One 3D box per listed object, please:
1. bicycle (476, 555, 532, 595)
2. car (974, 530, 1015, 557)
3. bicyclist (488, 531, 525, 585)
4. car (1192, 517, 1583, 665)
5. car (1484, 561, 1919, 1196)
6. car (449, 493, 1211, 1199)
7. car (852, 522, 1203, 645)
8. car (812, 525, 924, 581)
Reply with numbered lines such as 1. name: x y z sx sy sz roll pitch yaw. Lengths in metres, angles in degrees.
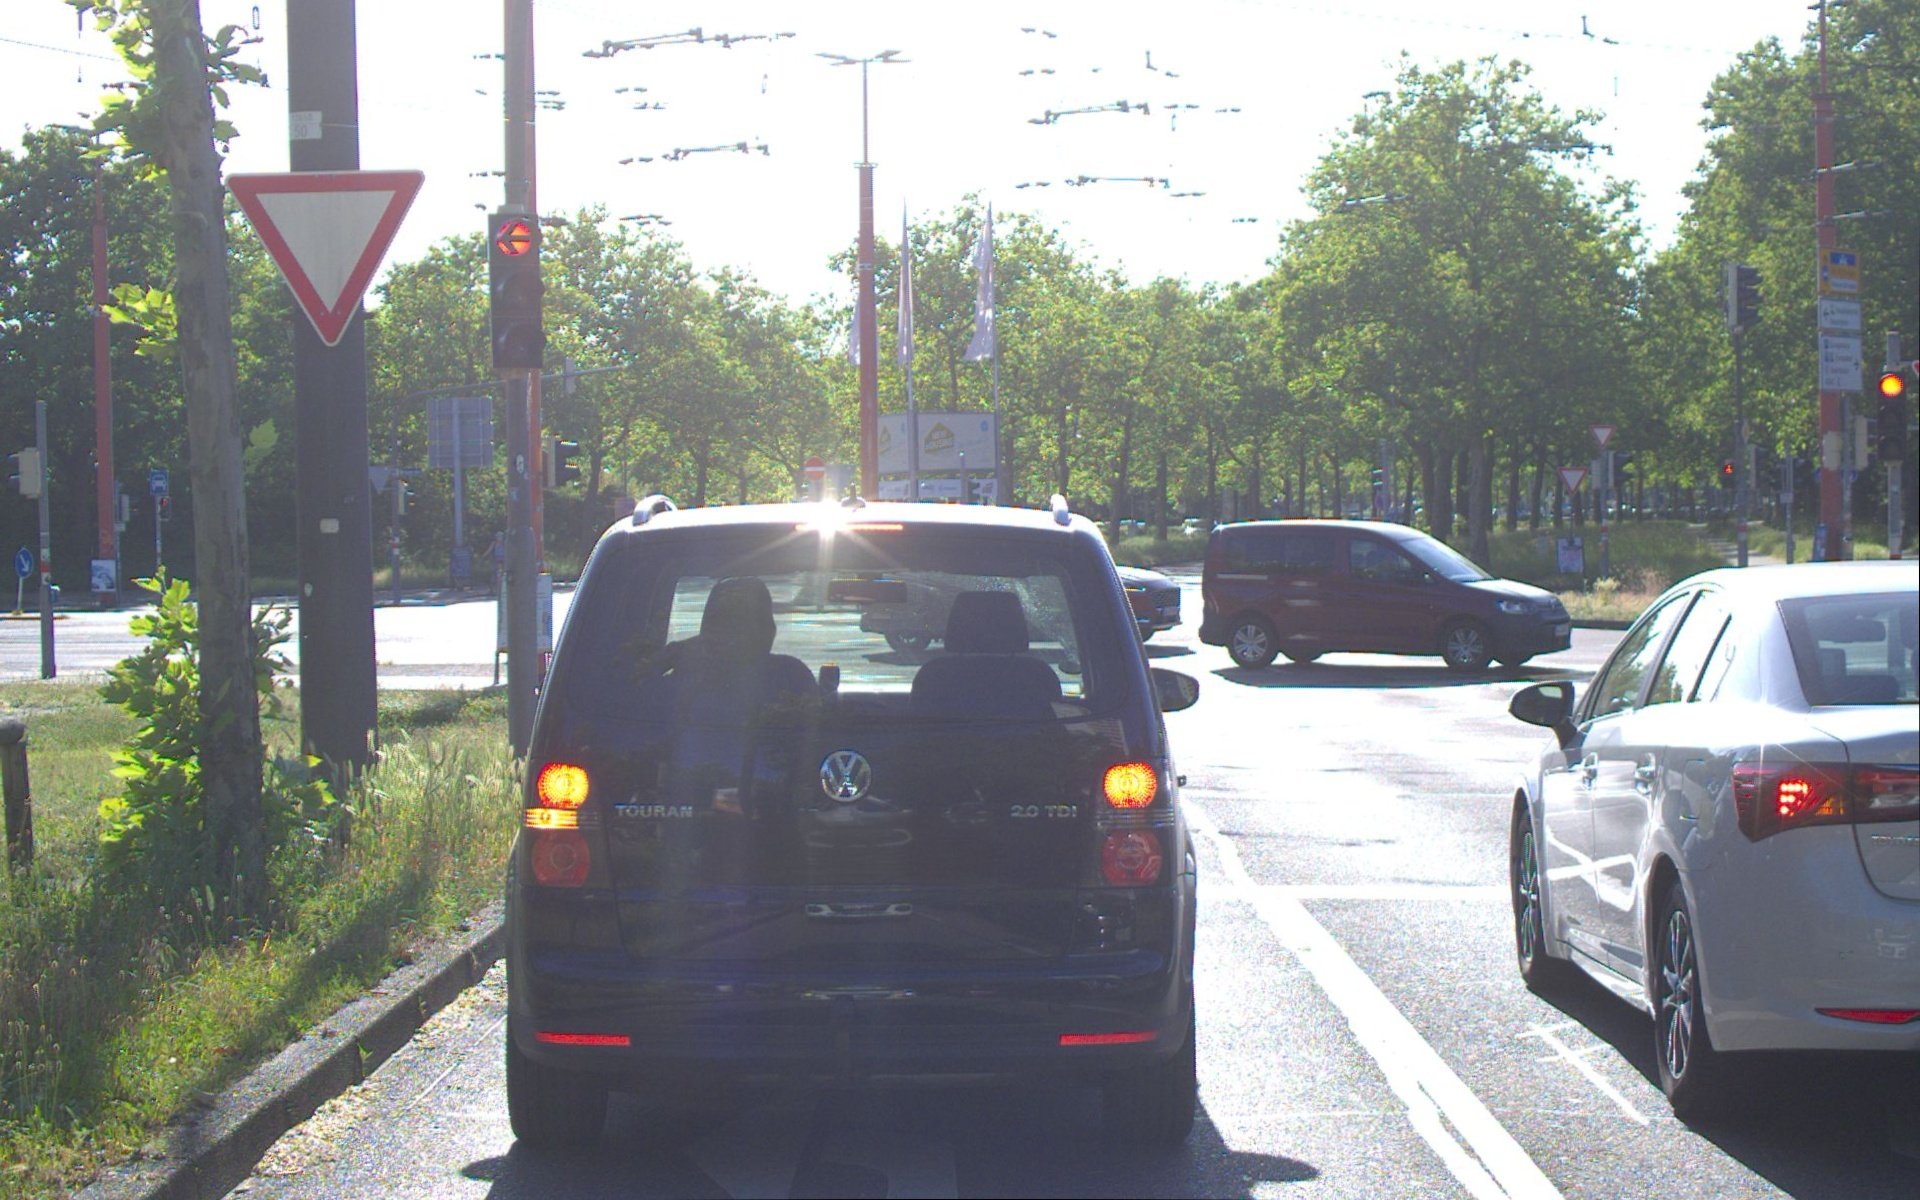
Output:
1. bicycle: -12.519 -0.688 94.422 0.735 1.086 1.959 0 1 18
2. car: 1.752 -2.834 171.802 1.658 1.305 3.814 0 1 6
3. bicyclist: -12.488 -1.156 94.633 0.693 1.452 0.874 0 1 18
4. car: 5.201 -0.125 41.903 4.350 1.726 1.840 0 1 28
5. car: 2.685 0.627 10.082 1.715 1.449 4.144 0 1 1
6. car: -0.318 0.543 9.881 1.737 1.635 4.000 0 1 -1
7. car: 0.933 -0.245 48.052 4.557 1.662 1.840 0 1 28
8. car: -2.811 -1.461 105.951 1.995 1.679 4.825 0 1 17
